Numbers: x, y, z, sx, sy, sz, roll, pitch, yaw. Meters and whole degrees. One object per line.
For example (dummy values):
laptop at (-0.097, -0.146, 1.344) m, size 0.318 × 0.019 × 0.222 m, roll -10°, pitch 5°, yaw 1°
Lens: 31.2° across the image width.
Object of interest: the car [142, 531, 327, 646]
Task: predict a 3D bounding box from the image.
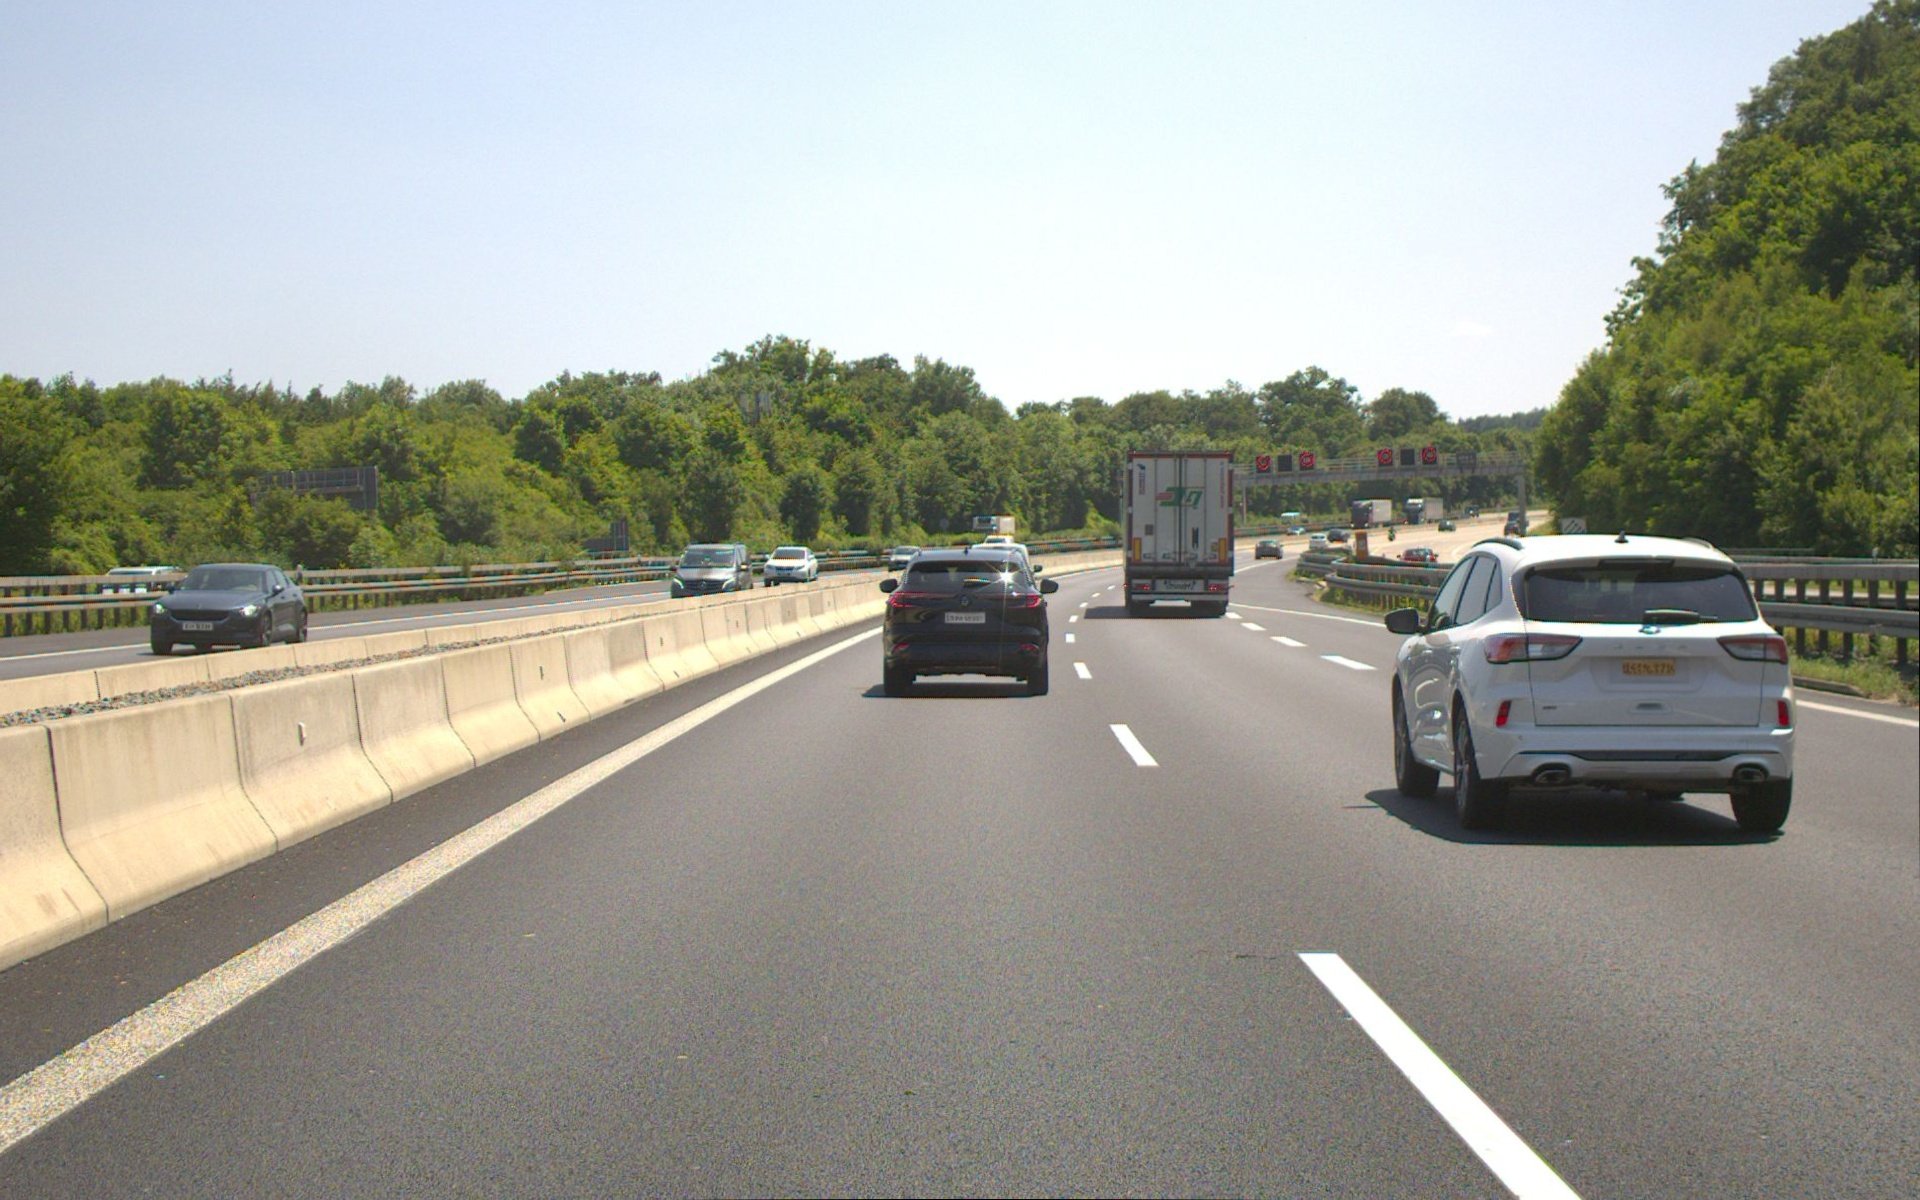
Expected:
car at (-12.015, -0.198, 57.215) m, size 1.993 × 1.818 × 4.905 m, roll 0°, pitch 0°, yaw 1°

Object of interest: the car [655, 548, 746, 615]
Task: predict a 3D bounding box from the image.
car at (-7.340, -0.514, 97.716) m, size 2.035 × 1.851 × 5.375 m, roll 0°, pitch 0°, yaw 2°

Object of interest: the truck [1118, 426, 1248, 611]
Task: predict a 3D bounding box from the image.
truck at (5.616, -1.976, 88.301) m, size 3.032 × 4.403 × 12.018 m, roll 0°, pitch 0°, yaw 2°

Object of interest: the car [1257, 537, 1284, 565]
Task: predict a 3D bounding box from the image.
car at (22.994, -3.596, 254.490) m, size 1.994 × 2.007 × 3.999 m, roll 0°, pitch 0°, yaw 5°

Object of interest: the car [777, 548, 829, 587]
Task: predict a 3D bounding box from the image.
car at (-6.689, -1.391, 146.662) m, size 1.788 × 1.626 × 4.929 m, roll 0°, pitch 1°, yaw 2°

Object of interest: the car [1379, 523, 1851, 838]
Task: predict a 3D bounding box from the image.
car at (3.726, 0.414, 20.367) m, size 1.993 × 1.656 × 4.468 m, roll 0°, pitch 0°, yaw 1°

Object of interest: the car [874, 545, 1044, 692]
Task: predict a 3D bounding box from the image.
car at (-0.060, 0.194, 38.877) m, size 1.779 × 1.572 × 4.000 m, roll 0°, pitch 0°, yaw -2°

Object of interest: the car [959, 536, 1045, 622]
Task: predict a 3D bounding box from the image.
car at (1.057, -0.558, 86.556) m, size 1.993 × 2.007 × 4.000 m, roll -3°, pitch 1°, yaw 1°
